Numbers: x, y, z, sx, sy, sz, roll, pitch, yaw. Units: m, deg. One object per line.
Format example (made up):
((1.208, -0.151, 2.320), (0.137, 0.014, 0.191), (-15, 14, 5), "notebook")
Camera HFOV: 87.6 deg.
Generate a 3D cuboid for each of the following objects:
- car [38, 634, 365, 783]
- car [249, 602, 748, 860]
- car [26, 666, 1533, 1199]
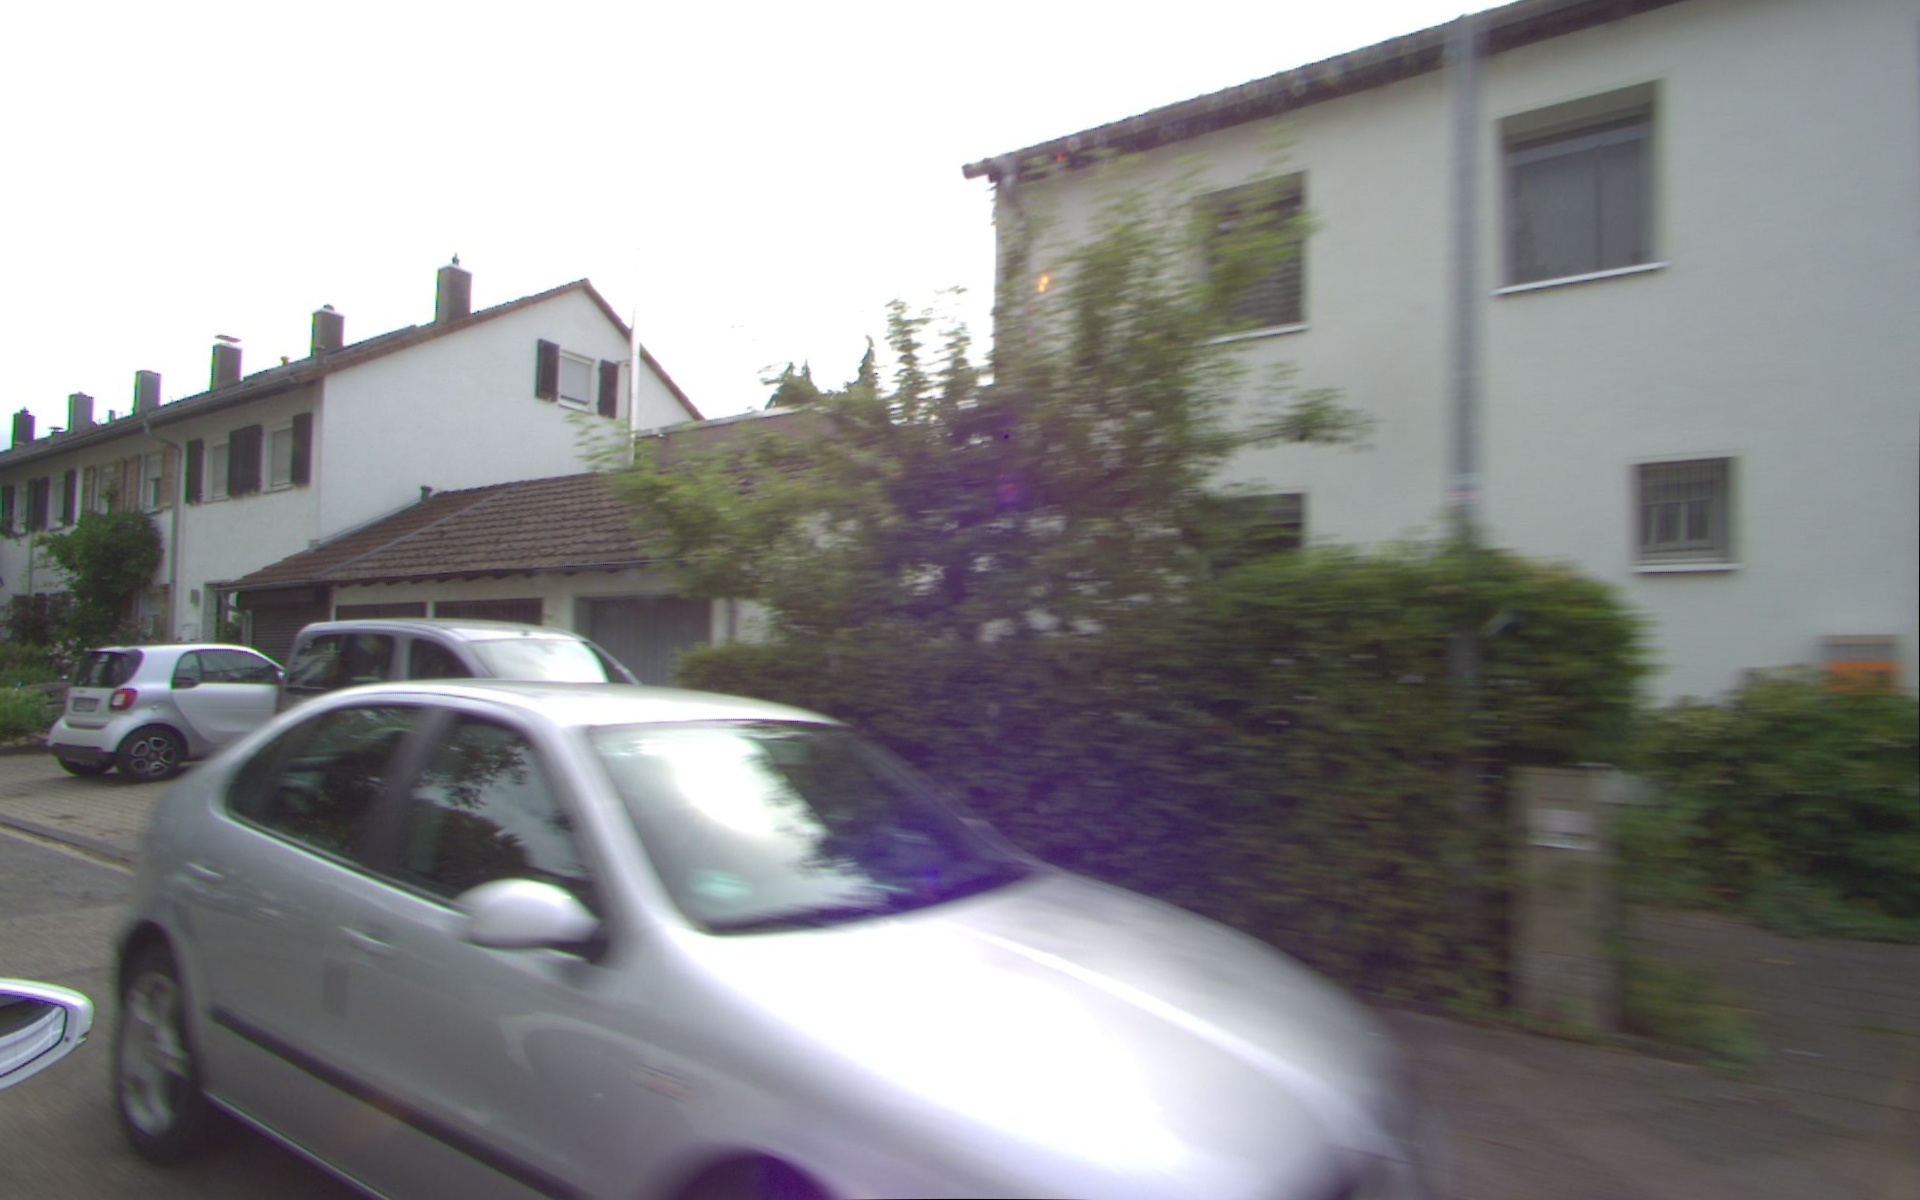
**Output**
((-9.312, 1.232, 12.469), (1.715, 1.589, 2.814), (0, -2, 30), "car")
((-4.126, 0.976, 8.815), (4.275, 1.800, 1.824), (-1, -1, 29), "car")
((-0.802, 0.977, 2.969), (4.270, 1.386, 1.824), (-1, -6, 33), "car")
